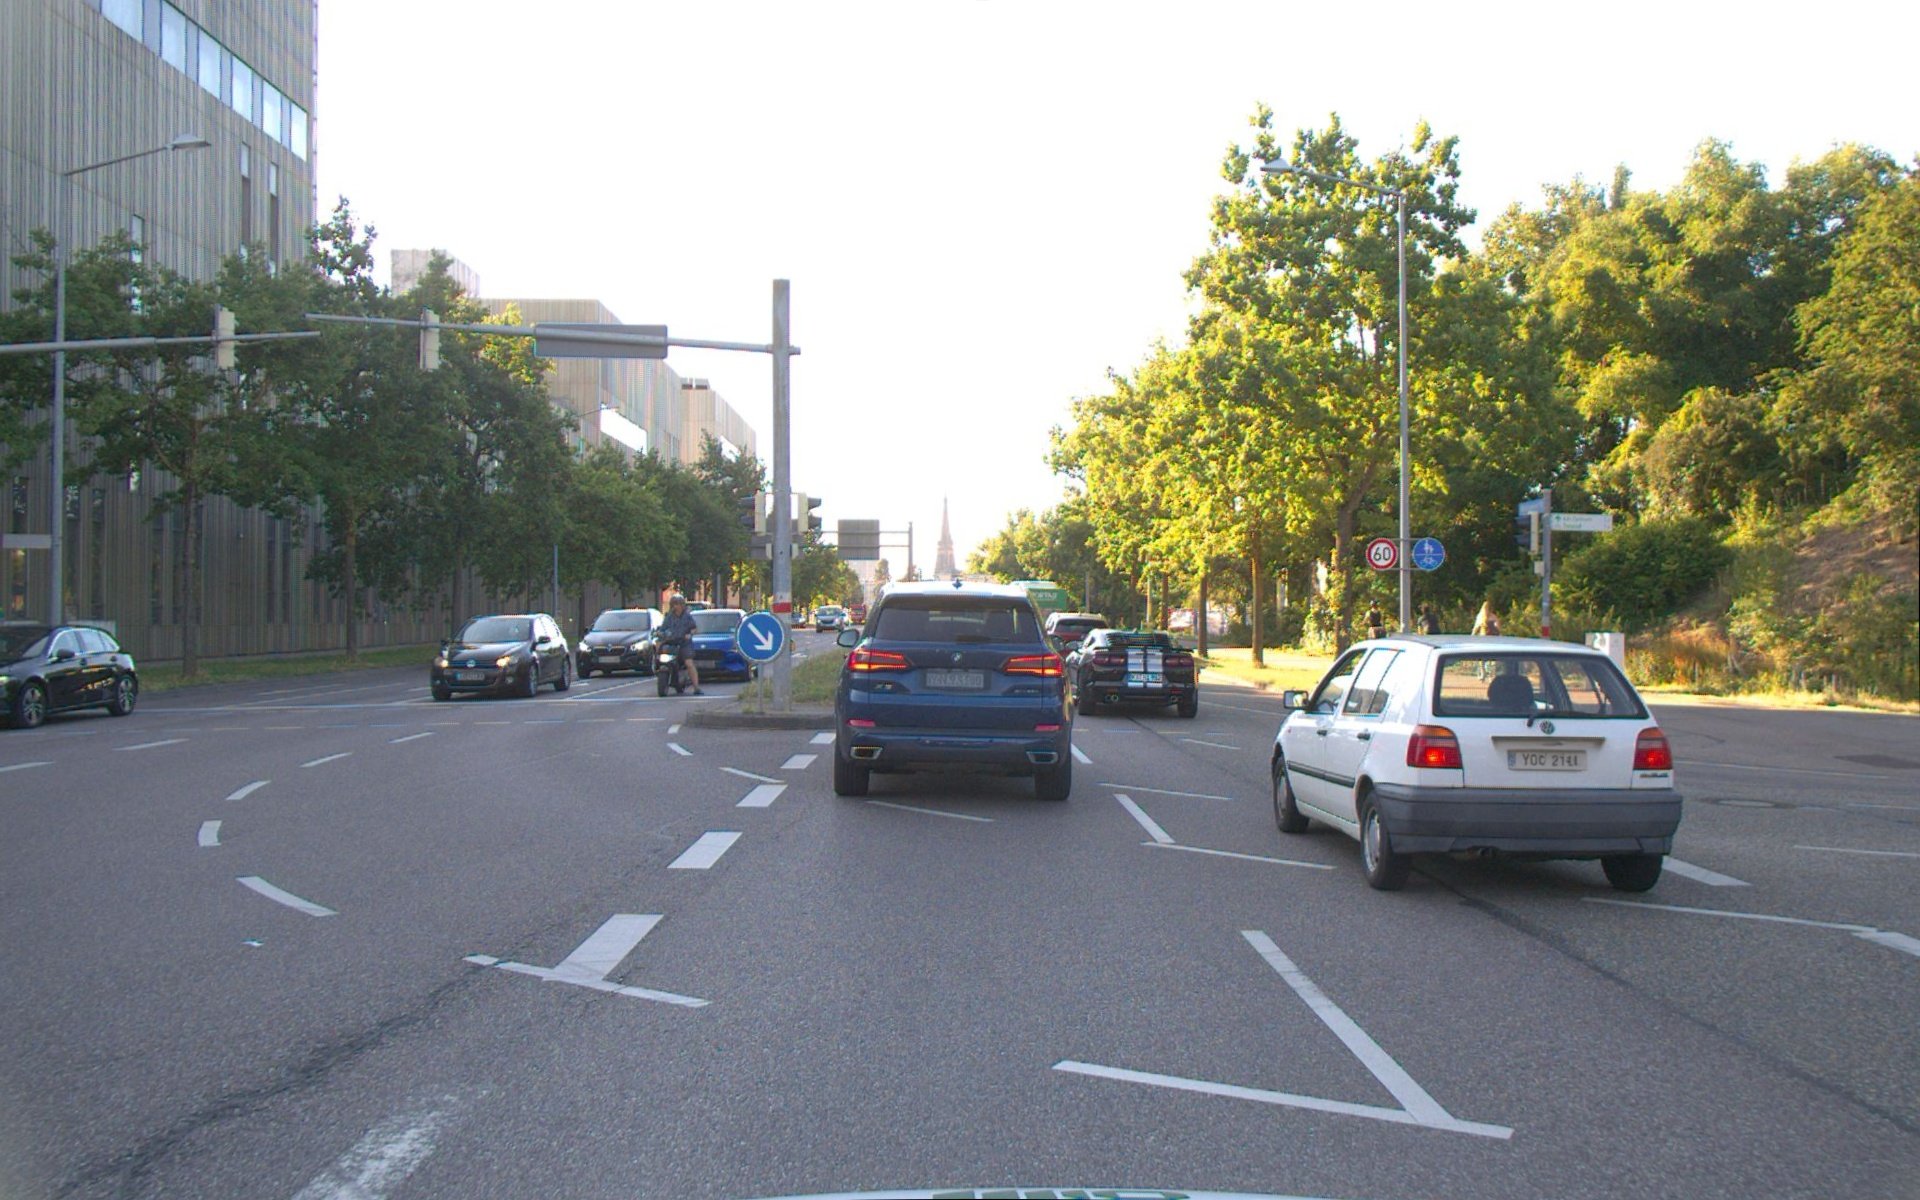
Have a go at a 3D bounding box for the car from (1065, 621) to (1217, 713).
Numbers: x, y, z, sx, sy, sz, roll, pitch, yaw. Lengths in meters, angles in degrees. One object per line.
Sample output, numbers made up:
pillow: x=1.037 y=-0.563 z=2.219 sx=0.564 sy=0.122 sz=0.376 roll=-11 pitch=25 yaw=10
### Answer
car: x=2.838 y=1.054 z=26.784 sx=1.953 sy=1.317 sz=3.999 roll=2 pitch=-2 yaw=-1

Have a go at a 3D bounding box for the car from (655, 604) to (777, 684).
car: x=-5.043 y=0.903 z=34.643 sx=1.666 sy=1.477 sz=3.859 roll=-4 pitch=-1 yaw=4

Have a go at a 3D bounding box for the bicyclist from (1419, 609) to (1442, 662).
bicyclist: x=11.965 y=0.905 z=42.078 sx=0.419 sy=1.332 sz=0.460 roll=2 pitch=-2 yaw=-1

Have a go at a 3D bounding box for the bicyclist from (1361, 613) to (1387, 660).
bicyclist: x=12.061 y=1.068 z=48.180 sx=0.532 sy=1.339 sz=0.835 roll=2 pitch=-2 yaw=-1

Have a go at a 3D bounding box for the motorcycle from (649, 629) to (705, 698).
motorcycle: x=-4.884 y=1.073 z=28.647 sx=0.824 sy=1.095 sz=2.397 roll=-2 pitch=0 yaw=-7

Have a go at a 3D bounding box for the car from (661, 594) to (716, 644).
car: x=-11.776 y=0.801 z=71.979 sx=1.758 sy=2.013 sz=3.992 roll=-3 pitch=0 yaw=-2

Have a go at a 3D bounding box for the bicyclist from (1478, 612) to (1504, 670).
bicyclist: x=11.567 y=0.899 z=36.036 sx=0.419 sy=1.254 sz=0.460 roll=0 pitch=-2 yaw=-1

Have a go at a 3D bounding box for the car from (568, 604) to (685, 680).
car: x=-7.976 y=1.011 z=39.977 sx=1.954 sy=1.619 sz=4.712 roll=-3 pitch=-1 yaw=-2

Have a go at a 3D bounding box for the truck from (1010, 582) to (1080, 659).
truck: x=2.718 y=0.686 z=53.553 sx=1.955 sy=2.356 sz=3.999 roll=2 pitch=-2 yaw=-1

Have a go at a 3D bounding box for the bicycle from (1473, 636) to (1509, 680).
bicycle: x=11.555 y=1.261 z=36.002 sx=0.428 sy=0.930 sz=1.026 roll=-1 pitch=-2 yaw=0

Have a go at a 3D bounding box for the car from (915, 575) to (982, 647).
car: x=-0.508 y=0.482 z=64.246 sx=2.095 sy=2.621 sz=5.080 roll=2 pitch=-2 yaw=-5

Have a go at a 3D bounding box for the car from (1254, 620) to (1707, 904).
car: x=3.090 y=0.901 z=10.680 sx=1.547 sy=1.438 sz=4.060 roll=2 pitch=-2 yaw=-1

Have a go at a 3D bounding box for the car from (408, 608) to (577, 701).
car: x=-8.367 y=0.970 z=29.988 sx=1.953 sy=1.501 sz=4.078 roll=2 pitch=-2 yaw=-2

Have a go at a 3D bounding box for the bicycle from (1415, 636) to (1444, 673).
bicycle: x=11.948 y=1.380 z=42.077 sx=0.428 sy=0.930 sz=1.026 roll=2 pitch=-2 yaw=0

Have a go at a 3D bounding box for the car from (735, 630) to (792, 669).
car: x=-8.382 y=2.107 z=70.956 sx=1.954 sy=1.477 sz=4.796 roll=-4 pitch=-1 yaw=-2

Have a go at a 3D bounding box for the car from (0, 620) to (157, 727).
car: x=-13.867 y=1.099 z=24.431 sx=1.954 sy=1.425 sz=4.346 roll=-3 pitch=-1 yaw=-2

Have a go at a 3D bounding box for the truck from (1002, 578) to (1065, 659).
truck: x=2.568 y=0.682 z=58.408 sx=1.955 sy=2.715 sz=3.999 roll=2 pitch=-2 yaw=-1

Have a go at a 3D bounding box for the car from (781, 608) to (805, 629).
car: x=-15.360 y=1.701 z=152.380 sx=1.721 sy=1.735 sz=4.492 roll=-3 pitch=-1 yaw=-2

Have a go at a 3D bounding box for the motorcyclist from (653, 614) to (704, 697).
motorcyclist: x=-4.876 y=0.950 z=28.739 sx=0.782 sy=1.373 sz=1.272 roll=-1 pitch=1 yaw=-7

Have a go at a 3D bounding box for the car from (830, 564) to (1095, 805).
car: x=-0.001 y=0.698 z=14.737 sx=1.953 sy=1.764 sz=4.531 roll=2 pitch=-2 yaw=-1

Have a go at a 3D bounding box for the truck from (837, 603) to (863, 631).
truck: x=-17.413 y=2.749 z=262.793 sx=3.910 sy=4.160 sz=11.439 roll=2 pitch=-2 yaw=-3

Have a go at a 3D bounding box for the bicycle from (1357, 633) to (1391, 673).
bicycle: x=12.059 y=1.532 z=48.203 sx=0.553 sy=1.132 sz=1.621 roll=2 pitch=-2 yaw=-1

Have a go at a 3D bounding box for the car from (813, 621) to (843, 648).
car: x=-9.226 y=2.427 z=115.819 sx=1.721 sy=1.808 sz=4.492 roll=-3 pitch=-1 yaw=-2

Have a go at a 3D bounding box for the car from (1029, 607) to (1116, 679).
car: x=2.649 y=1.043 z=39.756 sx=1.760 sy=1.586 sz=3.999 roll=2 pitch=-2 yaw=-1
